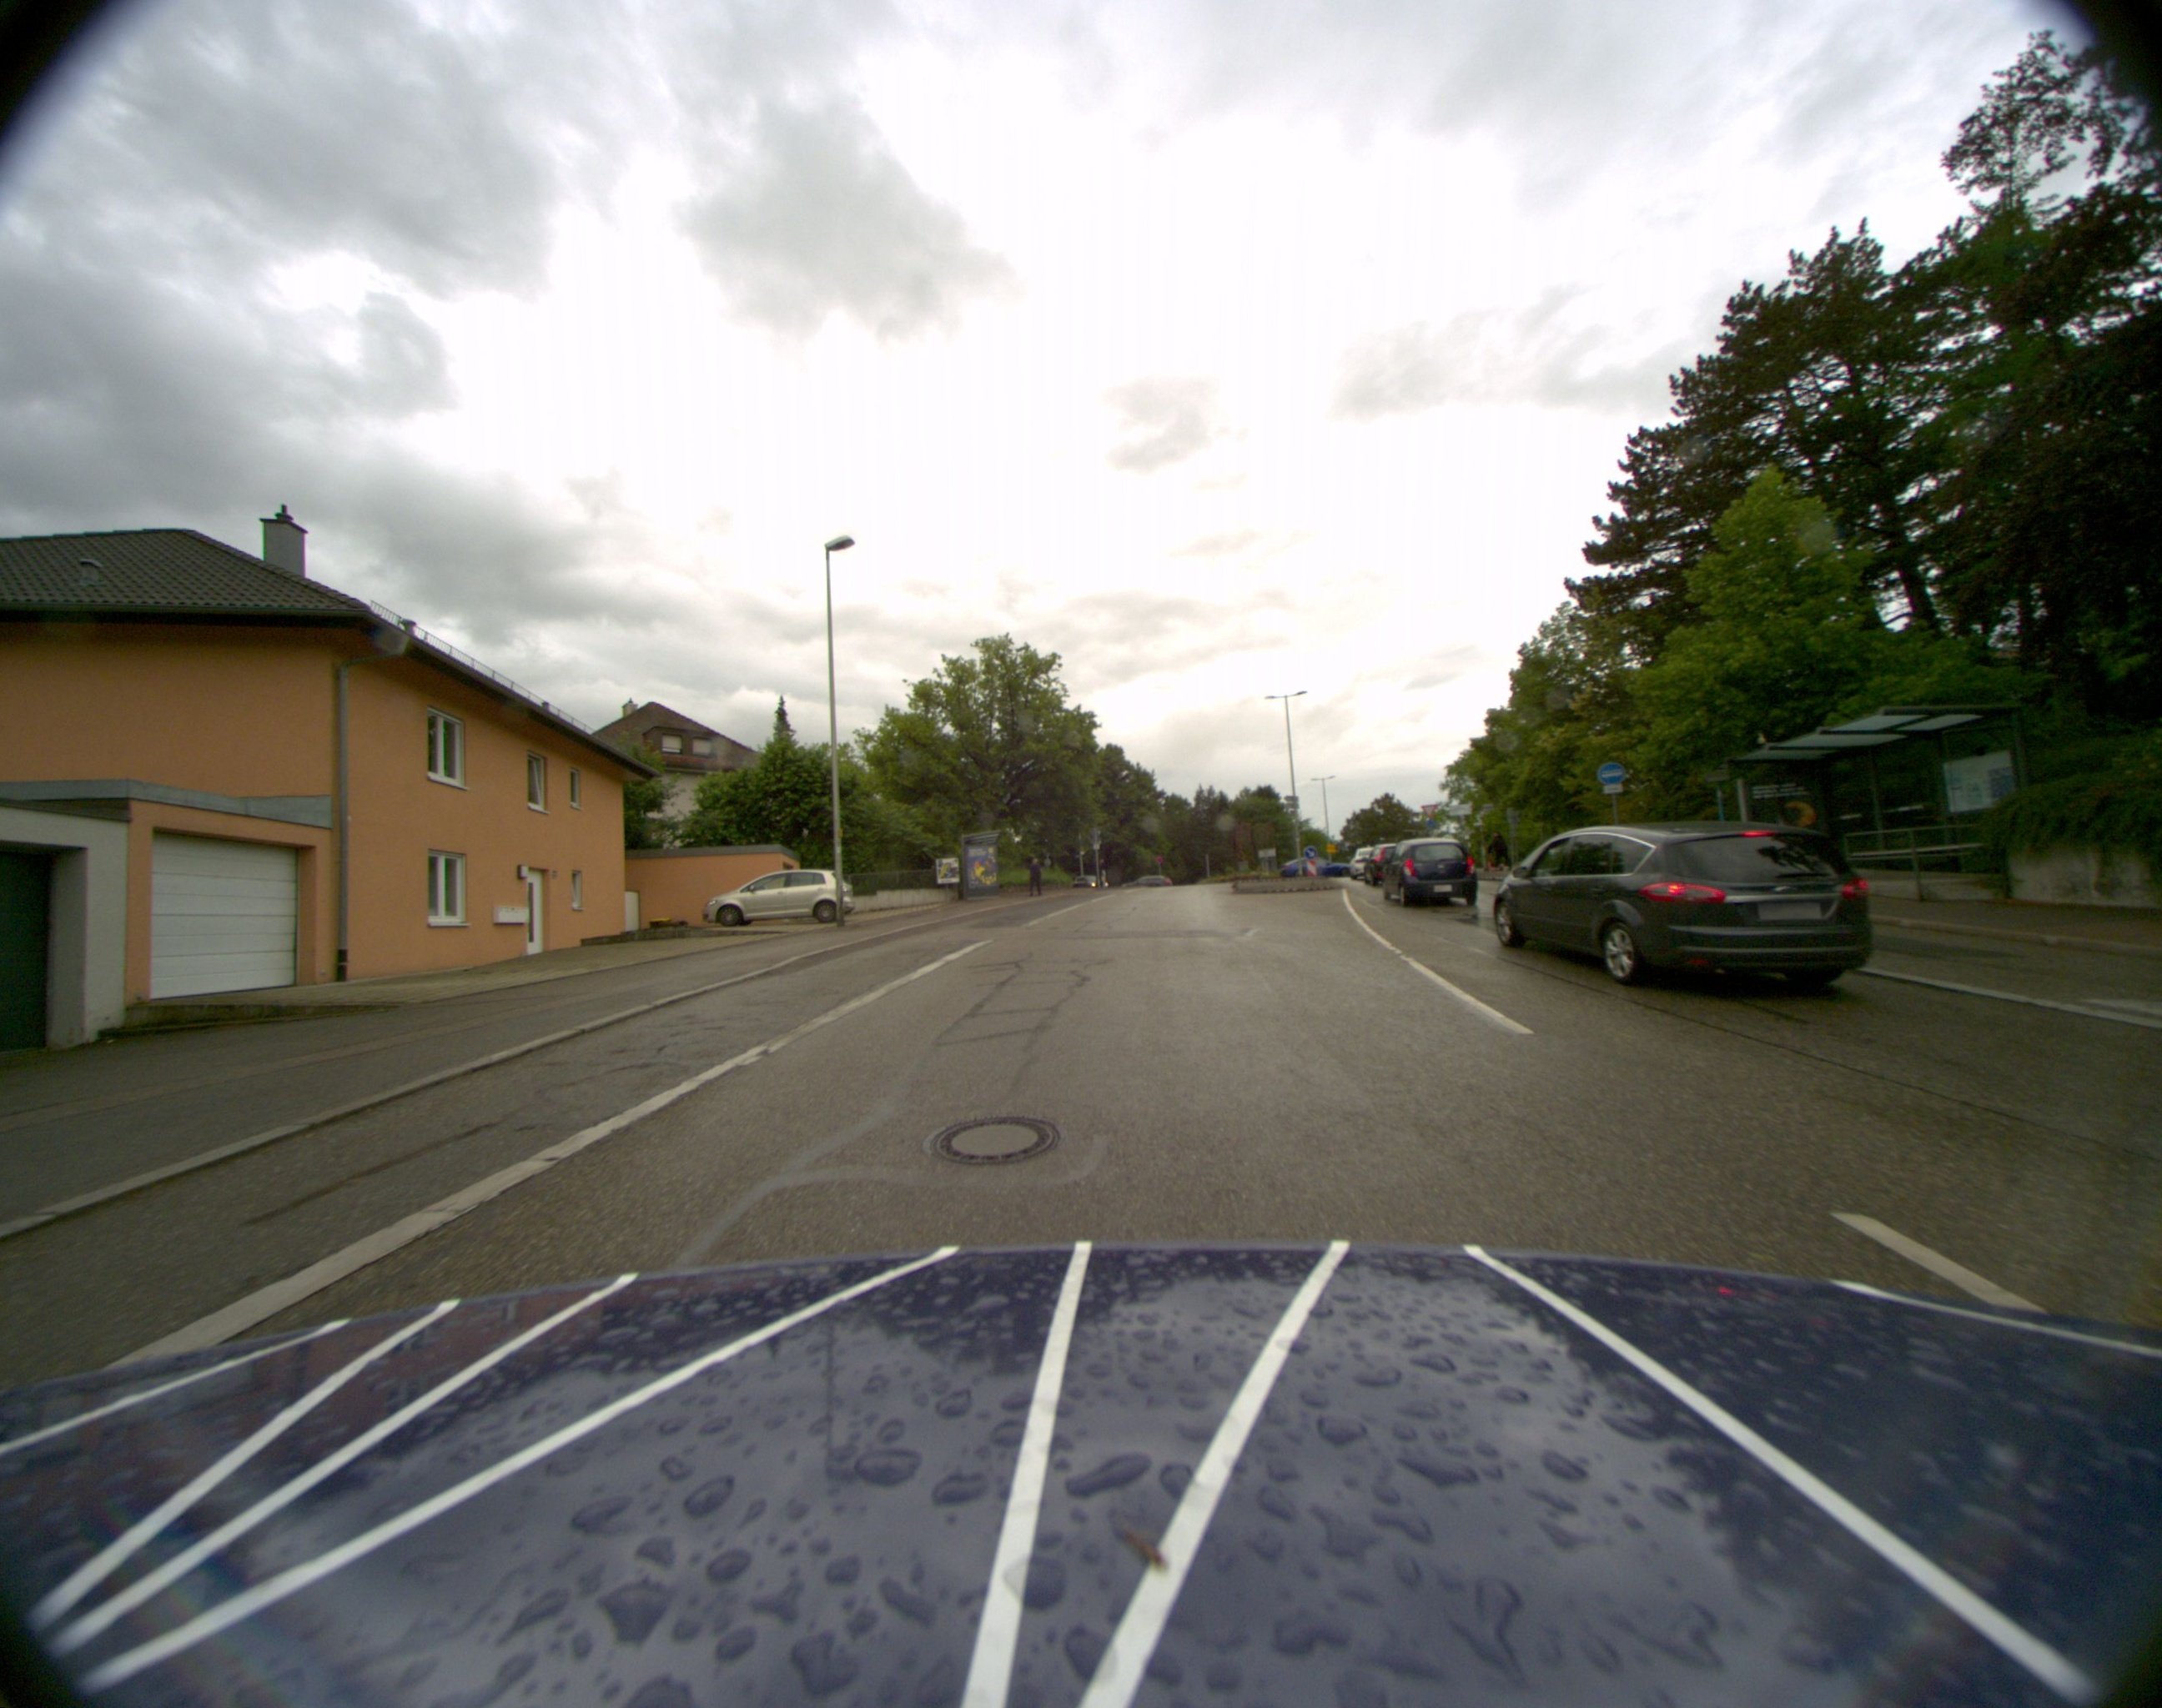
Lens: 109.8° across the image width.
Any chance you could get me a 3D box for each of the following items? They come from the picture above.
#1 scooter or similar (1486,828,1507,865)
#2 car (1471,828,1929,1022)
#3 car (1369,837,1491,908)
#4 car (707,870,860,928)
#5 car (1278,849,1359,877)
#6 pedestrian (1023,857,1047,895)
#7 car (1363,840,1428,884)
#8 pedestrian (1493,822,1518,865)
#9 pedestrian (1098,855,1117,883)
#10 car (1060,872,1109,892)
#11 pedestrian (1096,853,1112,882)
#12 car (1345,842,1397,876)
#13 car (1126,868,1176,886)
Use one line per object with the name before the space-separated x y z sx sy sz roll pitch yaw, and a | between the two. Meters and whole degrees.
scooter or similar | 17.819 -0.304 32.615 0.510 1.507 1.320 -3 -1 18
car | 6.365 0.587 8.706 1.814 1.567 4.688 -3 0 7
car | 8.357 0.426 18.599 1.724 1.455 4.381 -3 -1 12
car | -8.535 1.271 22.136 3.871 1.556 1.726 -1 -1 -11
car | 15.314 0.598 49.162 4.665 1.428 1.765 -4 -2 8
pedestrian | -2.065 0.974 34.353 0.927 1.645 1.098 -3 -1 -1
car | 11.103 0.273 27.091 1.793 1.438 4.409 1 0 18
pedestrian | 18.169 -0.438 32.525 0.703 1.796 0.827 -3 -1 18
pedestrian | 1.580 0.895 45.881 0.821 1.645 0.724 -2 -1 -42
car | 0.240 2.309 63.138 1.866 1.406 4.376 -2 -3 -35
pedestrian | 1.373 0.794 44.782 0.724 1.722 0.820 -3 -1 10
car | 13.519 0.219 35.625 1.831 1.393 4.826 -3 -1 16
car | 6.544 2.185 71.027 4.378 1.406 1.866 -4 -2 13
